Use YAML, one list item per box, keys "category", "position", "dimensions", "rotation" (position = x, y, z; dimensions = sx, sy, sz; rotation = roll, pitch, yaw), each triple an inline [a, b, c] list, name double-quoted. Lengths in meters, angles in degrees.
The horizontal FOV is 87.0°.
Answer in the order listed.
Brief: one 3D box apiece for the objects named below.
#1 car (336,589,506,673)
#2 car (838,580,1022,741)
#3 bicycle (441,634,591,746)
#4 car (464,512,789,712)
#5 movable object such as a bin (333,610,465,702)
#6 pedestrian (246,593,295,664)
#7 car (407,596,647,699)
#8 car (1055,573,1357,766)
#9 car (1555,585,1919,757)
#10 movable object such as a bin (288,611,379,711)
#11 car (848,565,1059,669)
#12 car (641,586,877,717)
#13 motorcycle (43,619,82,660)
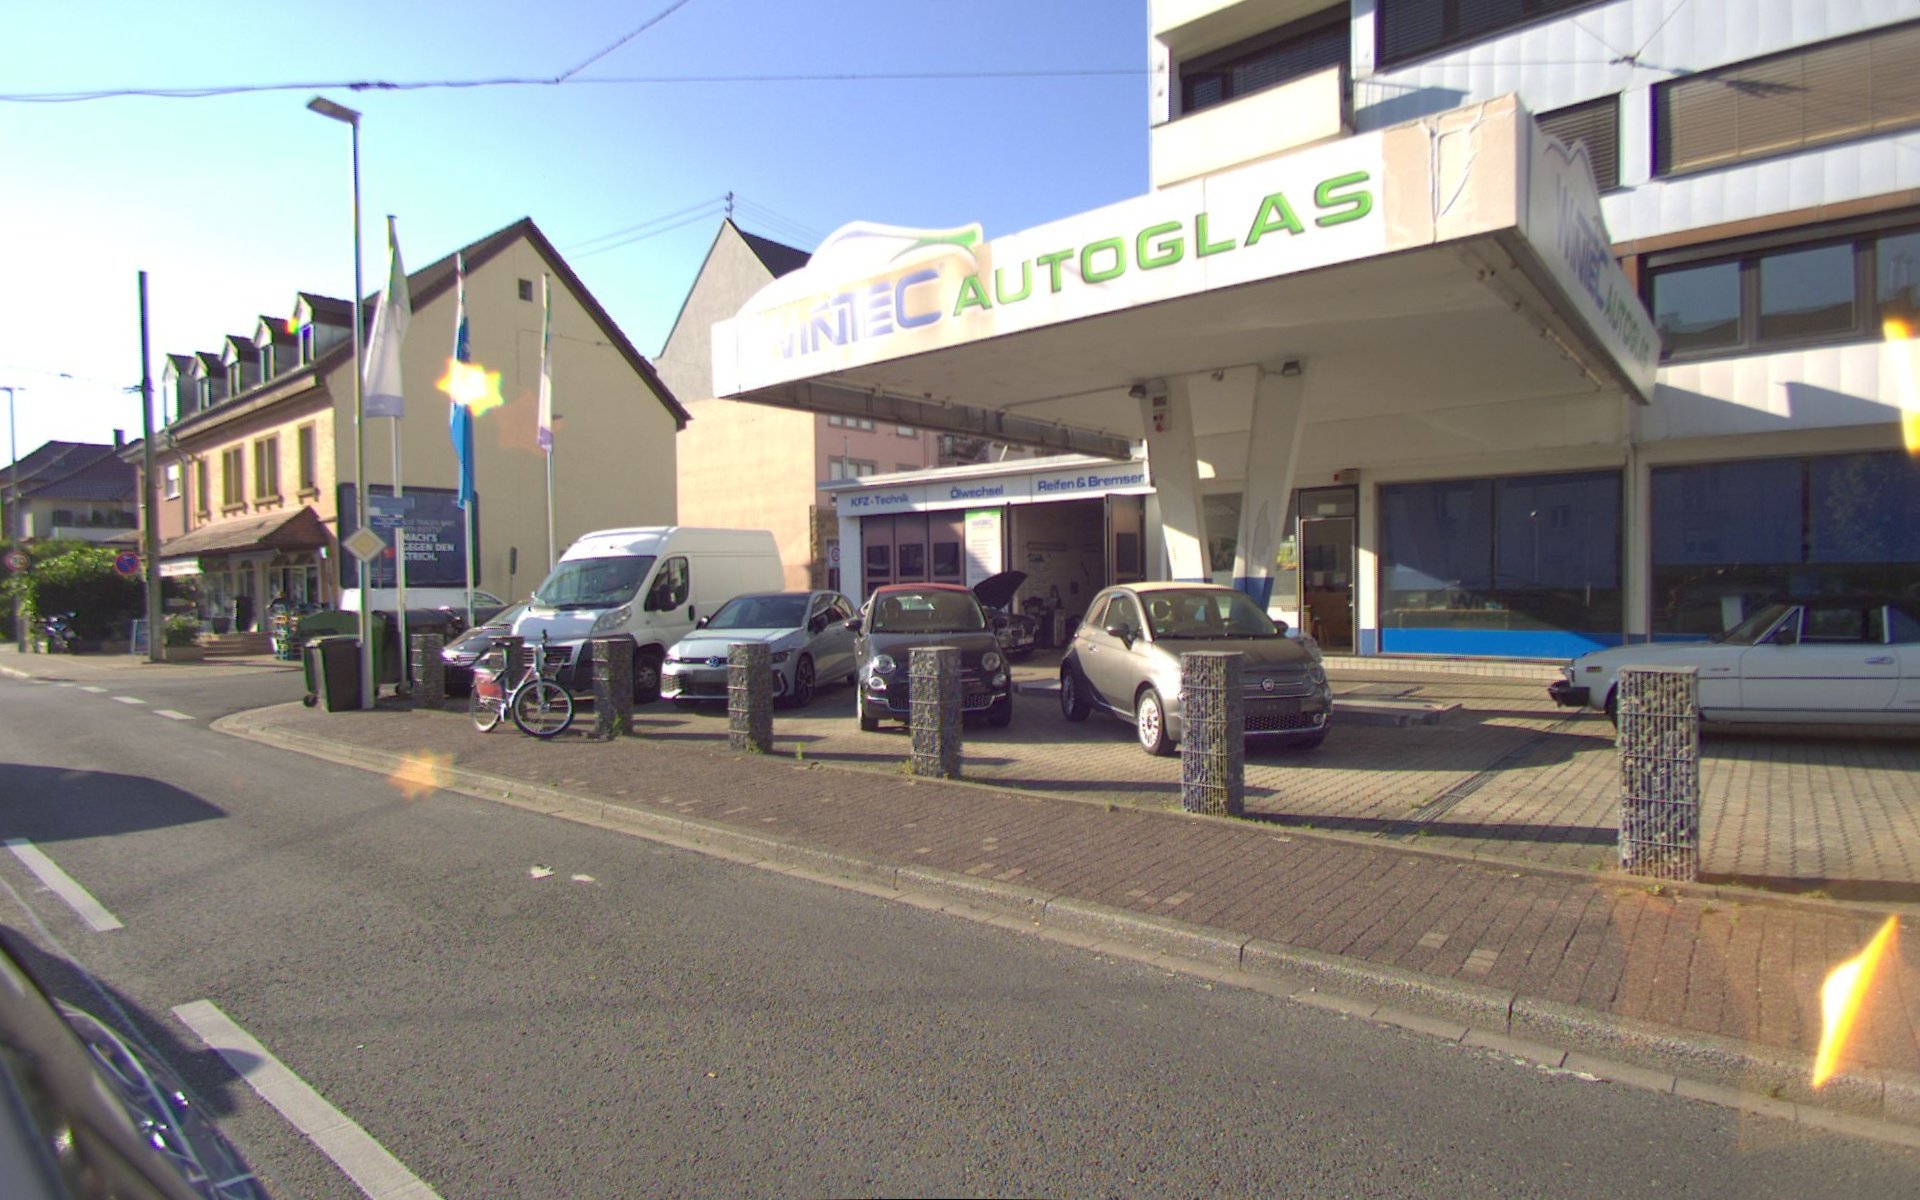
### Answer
- category: "car"
  position: [-13.894, 0.744, 26.250]
  dimensions: [1.449, 2.029, 3.628]
  rotation: [-1, 0, 37]
- category: "car"
  position: [-0.484, 0.569, 11.506]
  dimensions: [1.569, 1.508, 3.443]
  rotation: [-1, 0, -10]
- category: "bicycle"
  position: [-4.896, 0.945, 11.120]
  dimensions: [1.789, 1.094, 0.716]
  rotation: [-1, 1, 37]
- category: "car"
  position: [-4.688, 0.136, 15.221]
  dimensions: [2.098, 2.472, 4.963]
  rotation: [-1, 0, 18]
- category: "movable object such as a bin"
  position: [-9.577, 0.920, 17.367]
  dimensions: [1.039, 1.475, 1.787]
  rotation: [-1, 0, 15]
- category: "pedestrian"
  position: [-18.507, 0.765, 27.174]
  dimensions: [0.756, 1.866, 0.824]
  rotation: [-1, 0, -3]
- category: "car"
  position: [-7.063, 0.708, 17.006]
  dimensions: [1.725, 1.488, 4.016]
  rotation: [-1, 0, 12]
- category: "car"
  position: [2.153, 0.539, 9.791]
  dimensions: [1.517, 1.497, 3.381]
  rotation: [-1, 0, -11]
- category: "car"
  position: [7.385, 0.547, 8.569]
  dimensions: [3.898, 1.308, 1.506]
  rotation: [-1, -1, 37]
- category: "movable object such as a bin"
  position: [-9.707, 0.921, 15.711]
  dimensions: [1.030, 1.475, 0.798]
  rotation: [-1, 0, -18]
- category: "car"
  position: [-0.207, 0.326, 20.917]
  dimensions: [4.255, 1.958, 1.720]
  rotation: [-1, 0, 40]
- category: "car"
  position: [-2.532, 0.593, 13.802]
  dimensions: [1.725, 1.508, 4.016]
  rotation: [-1, 0, 12]
- category: "motorcycle"
  position: [-27.967, 1.210, 31.527]
  dimensions: [2.186, 1.226, 0.699]
  rotation: [-1, 0, 43]
